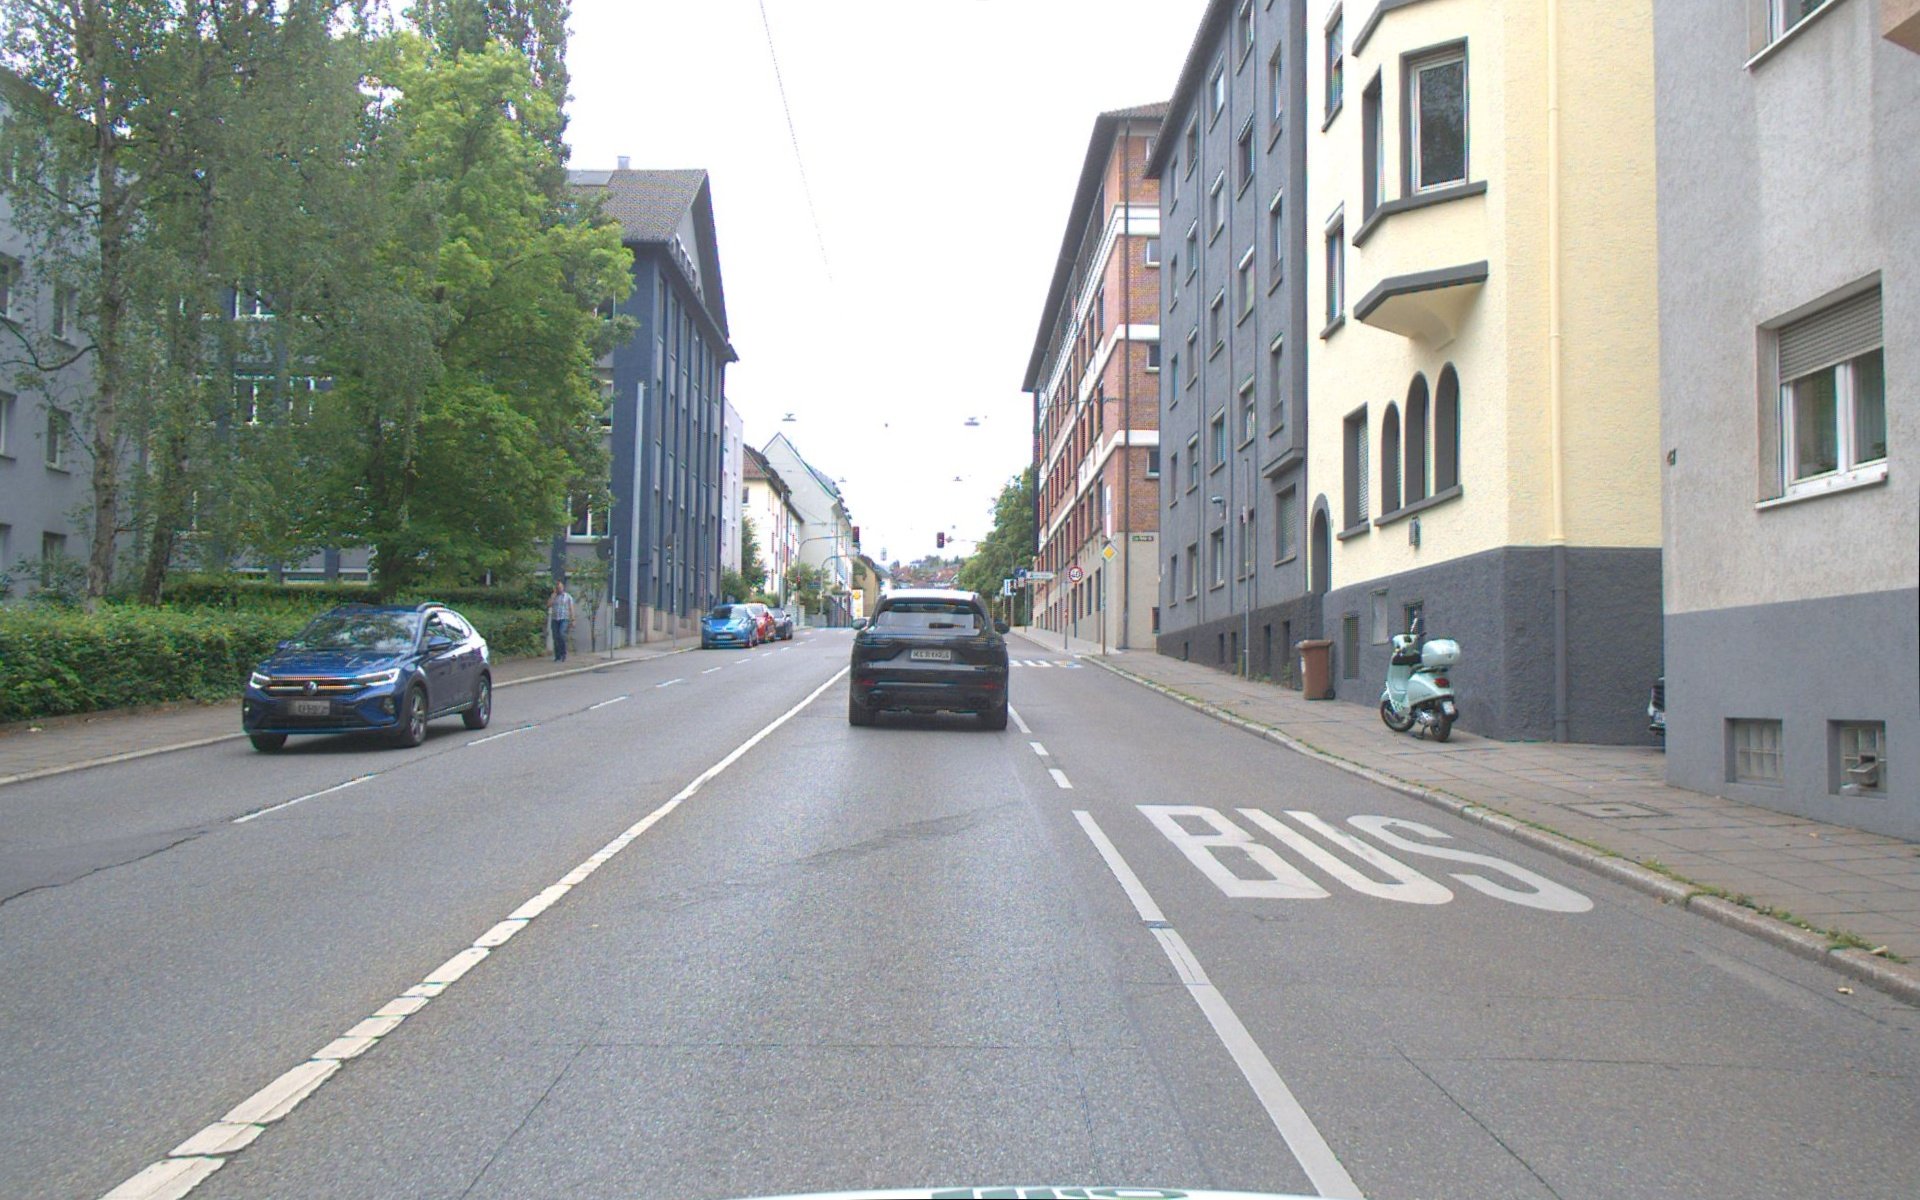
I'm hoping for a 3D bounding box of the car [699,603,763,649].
[{"bbox_3d":[-7.863,0.870,57.048,1.679,1.448,3.988,-2,0,-1],"label":"car"}]

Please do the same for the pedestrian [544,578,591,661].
[{"bbox_3d":[-9.711,0.477,40.939,0.864,1.984,0.867,3,0,-1],"label":"pedestrian"}]

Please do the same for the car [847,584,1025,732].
[{"bbox_3d":[-0.425,0.697,21.457,1.984,1.670,4.351,2,-1,-5],"label":"car"}]

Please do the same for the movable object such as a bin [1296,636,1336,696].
[{"bbox_3d":[5.617,1.032,26.126,0.465,0.907,0.516,-2,0,-2],"label":"movable object such as a bin"}]

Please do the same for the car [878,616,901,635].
[{"bbox_3d":[-6.603,2.373,155.415,1.858,1.721,4.000,-2,0,1],"label":"car"}]

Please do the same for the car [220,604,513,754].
[{"bbox_3d":[-6.597,0.812,18.910,1.801,1.473,4.310,-1,0,-1],"label":"car"}]

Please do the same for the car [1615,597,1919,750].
[{"bbox_3d":[9.160,0.717,17.238,3.905,1.448,1.885,-1,0,-1],"label":"car"}]

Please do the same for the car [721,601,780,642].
[{"bbox_3d":[-7.931,0.797,62.925,1.679,1.482,3.989,-2,0,0],"label":"car"}]

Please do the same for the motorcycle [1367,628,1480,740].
[{"bbox_3d":[5.360,0.940,19.255,0.527,1.176,2.225,-2,0,-3],"label":"motorcycle"}]

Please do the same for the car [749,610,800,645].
[{"bbox_3d":[-7.681,1.110,68.823,1.679,1.364,3.903,-2,0,-1],"label":"car"}]
